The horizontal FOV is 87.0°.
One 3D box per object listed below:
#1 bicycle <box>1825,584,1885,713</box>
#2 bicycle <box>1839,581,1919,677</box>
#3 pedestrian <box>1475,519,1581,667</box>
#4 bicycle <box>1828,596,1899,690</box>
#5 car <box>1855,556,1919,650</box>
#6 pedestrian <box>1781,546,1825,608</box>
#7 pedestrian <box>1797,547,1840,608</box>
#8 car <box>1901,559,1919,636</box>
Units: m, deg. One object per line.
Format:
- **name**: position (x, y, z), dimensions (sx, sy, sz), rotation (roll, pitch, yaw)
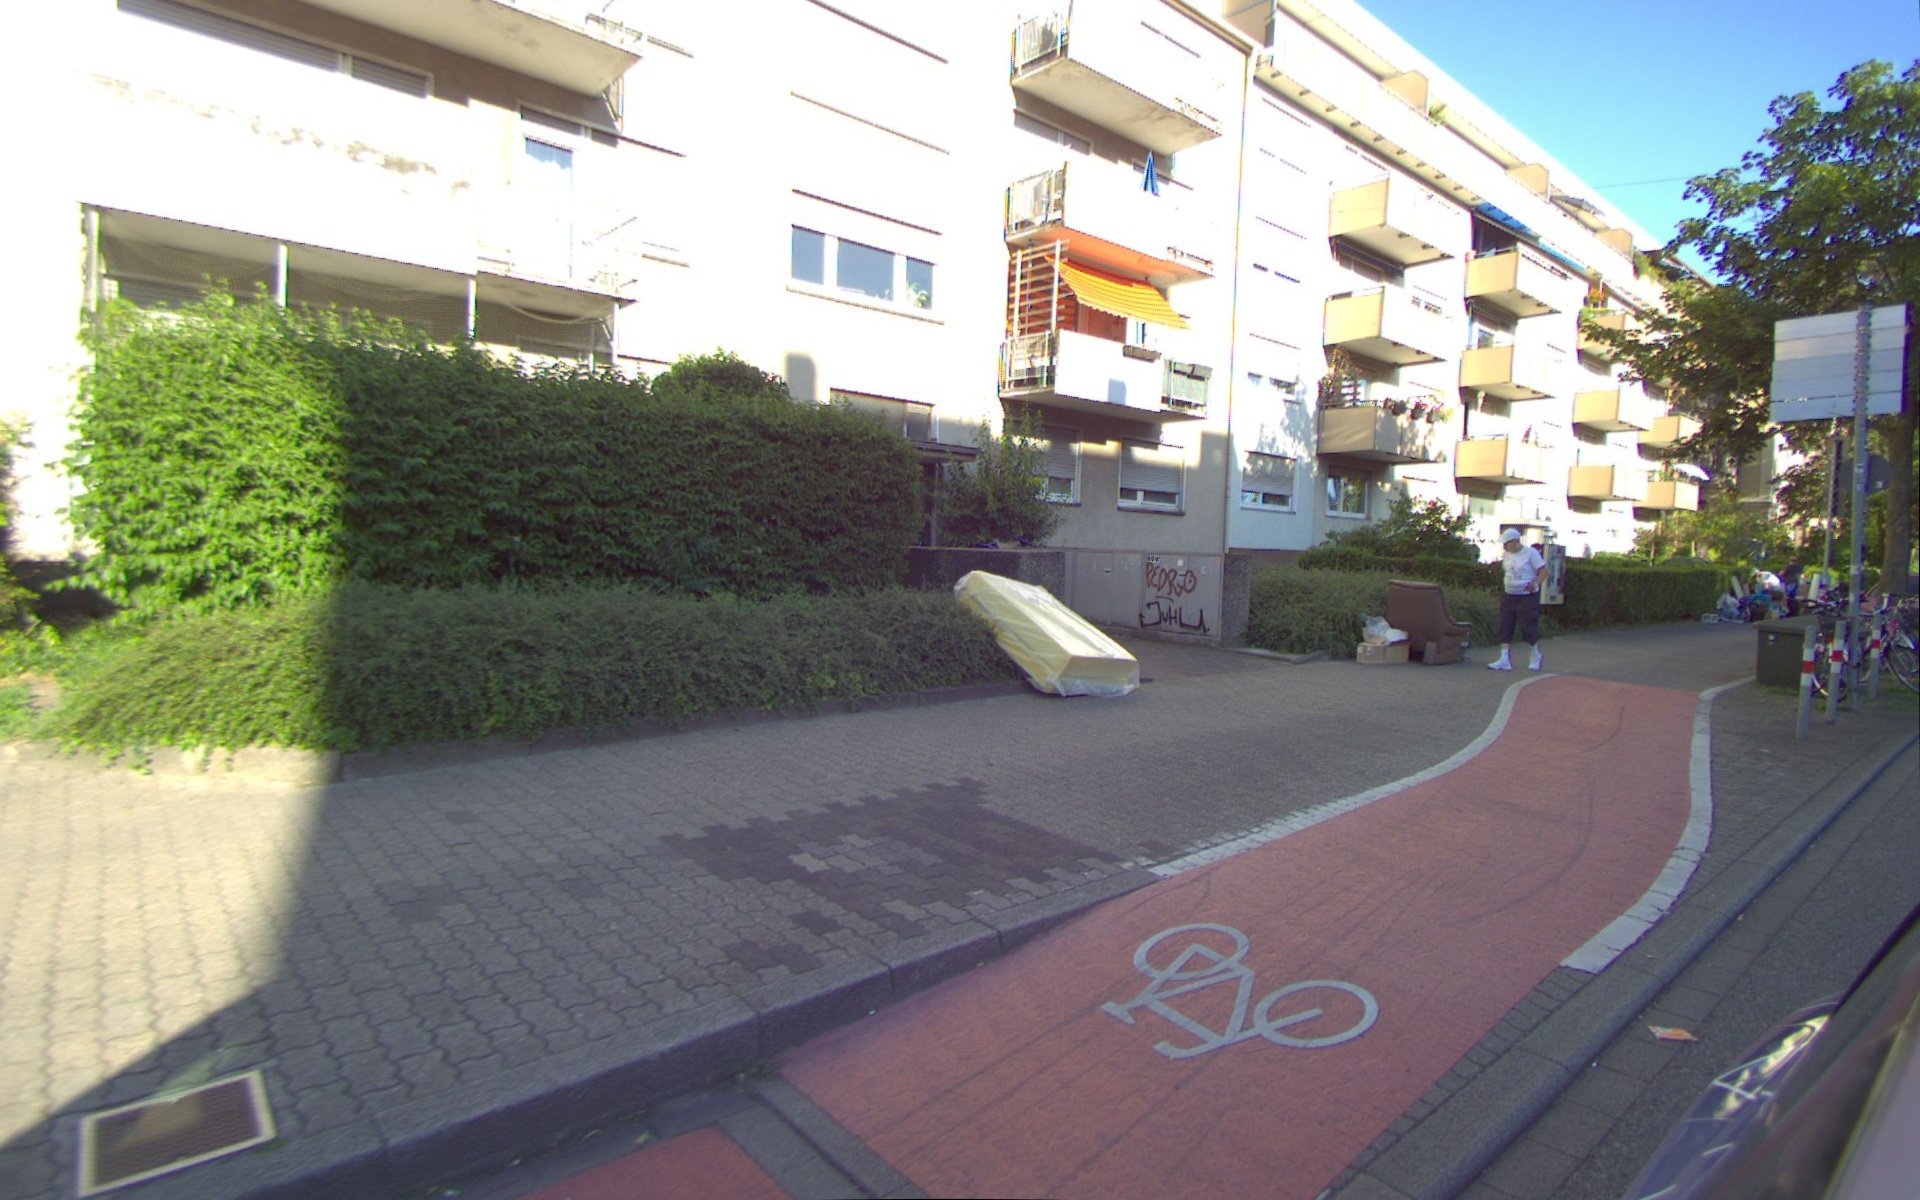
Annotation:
- **bicycle**: position (8.994, 0.440, 10.153), dimensions (0.324, 1.159, 1.772), rotation (4, 4, 44)
- **bicycle**: position (11.850, 0.348, 12.883), dimensions (1.764, 1.159, 0.326), rotation (0, 3, -28)
- **pedestrian**: position (6.852, -0.104, 12.216), dimensions (0.648, 1.703, 0.831), rotation (0, 4, -37)
- **bicycle**: position (10.242, 0.467, 11.468), dimensions (1.169, 0.999, 0.325), rotation (-1, 4, -37)
- **car**: position (17.490, 0.035, 17.957), dimensions (3.742, 1.535, 1.745), rotation (-1, 4, -39)
- **pedestrian**: position (23.696, -0.651, 28.435), dimensions (0.815, 1.703, 0.661), rotation (0, 4, -36)
- **pedestrian**: position (24.913, -0.657, 29.364), dimensions (0.815, 1.703, 0.661), rotation (0, 4, -36)
- **car**: position (21.127, -0.034, 21.022), dimensions (3.742, 1.535, 1.745), rotation (-1, 4, -39)
